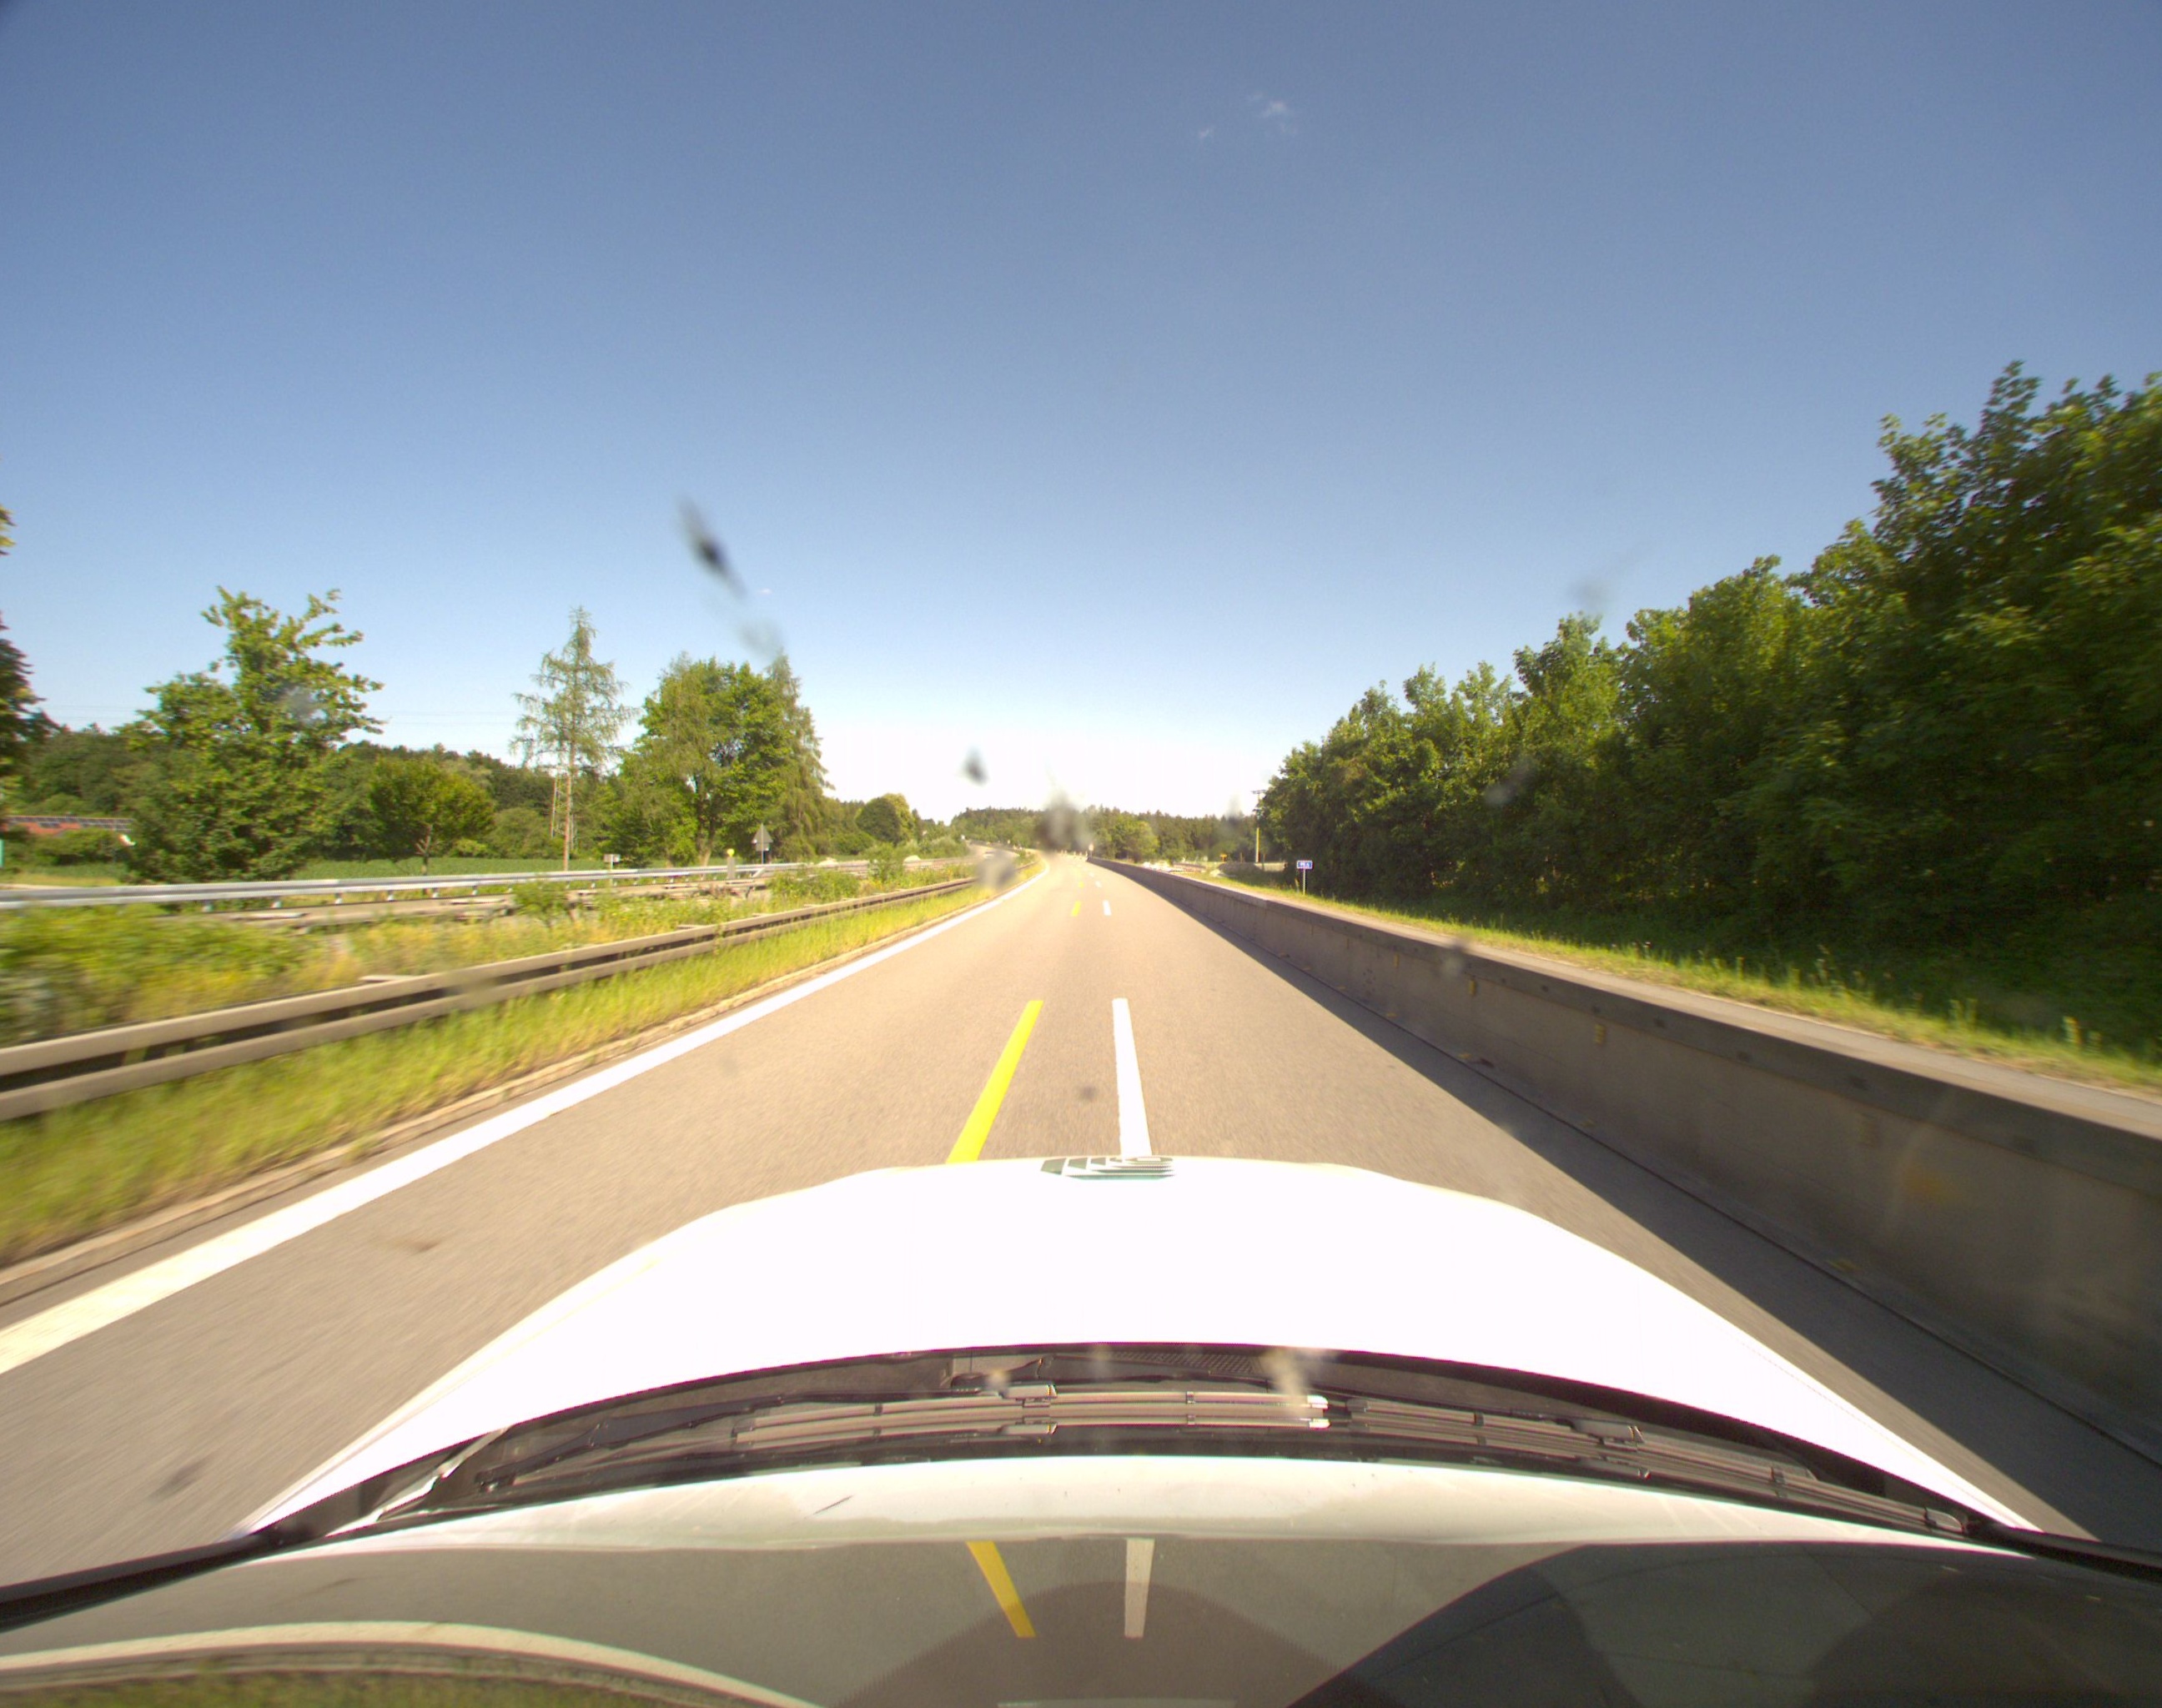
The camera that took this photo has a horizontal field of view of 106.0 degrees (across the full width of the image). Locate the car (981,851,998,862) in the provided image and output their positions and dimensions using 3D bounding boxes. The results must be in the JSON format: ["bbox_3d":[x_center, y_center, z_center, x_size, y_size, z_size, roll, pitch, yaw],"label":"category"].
[{"bbox_3d":[-12.271,0.343,109.497,1.755,1.511,4.532,0,0,-1],"label":"car"}]
